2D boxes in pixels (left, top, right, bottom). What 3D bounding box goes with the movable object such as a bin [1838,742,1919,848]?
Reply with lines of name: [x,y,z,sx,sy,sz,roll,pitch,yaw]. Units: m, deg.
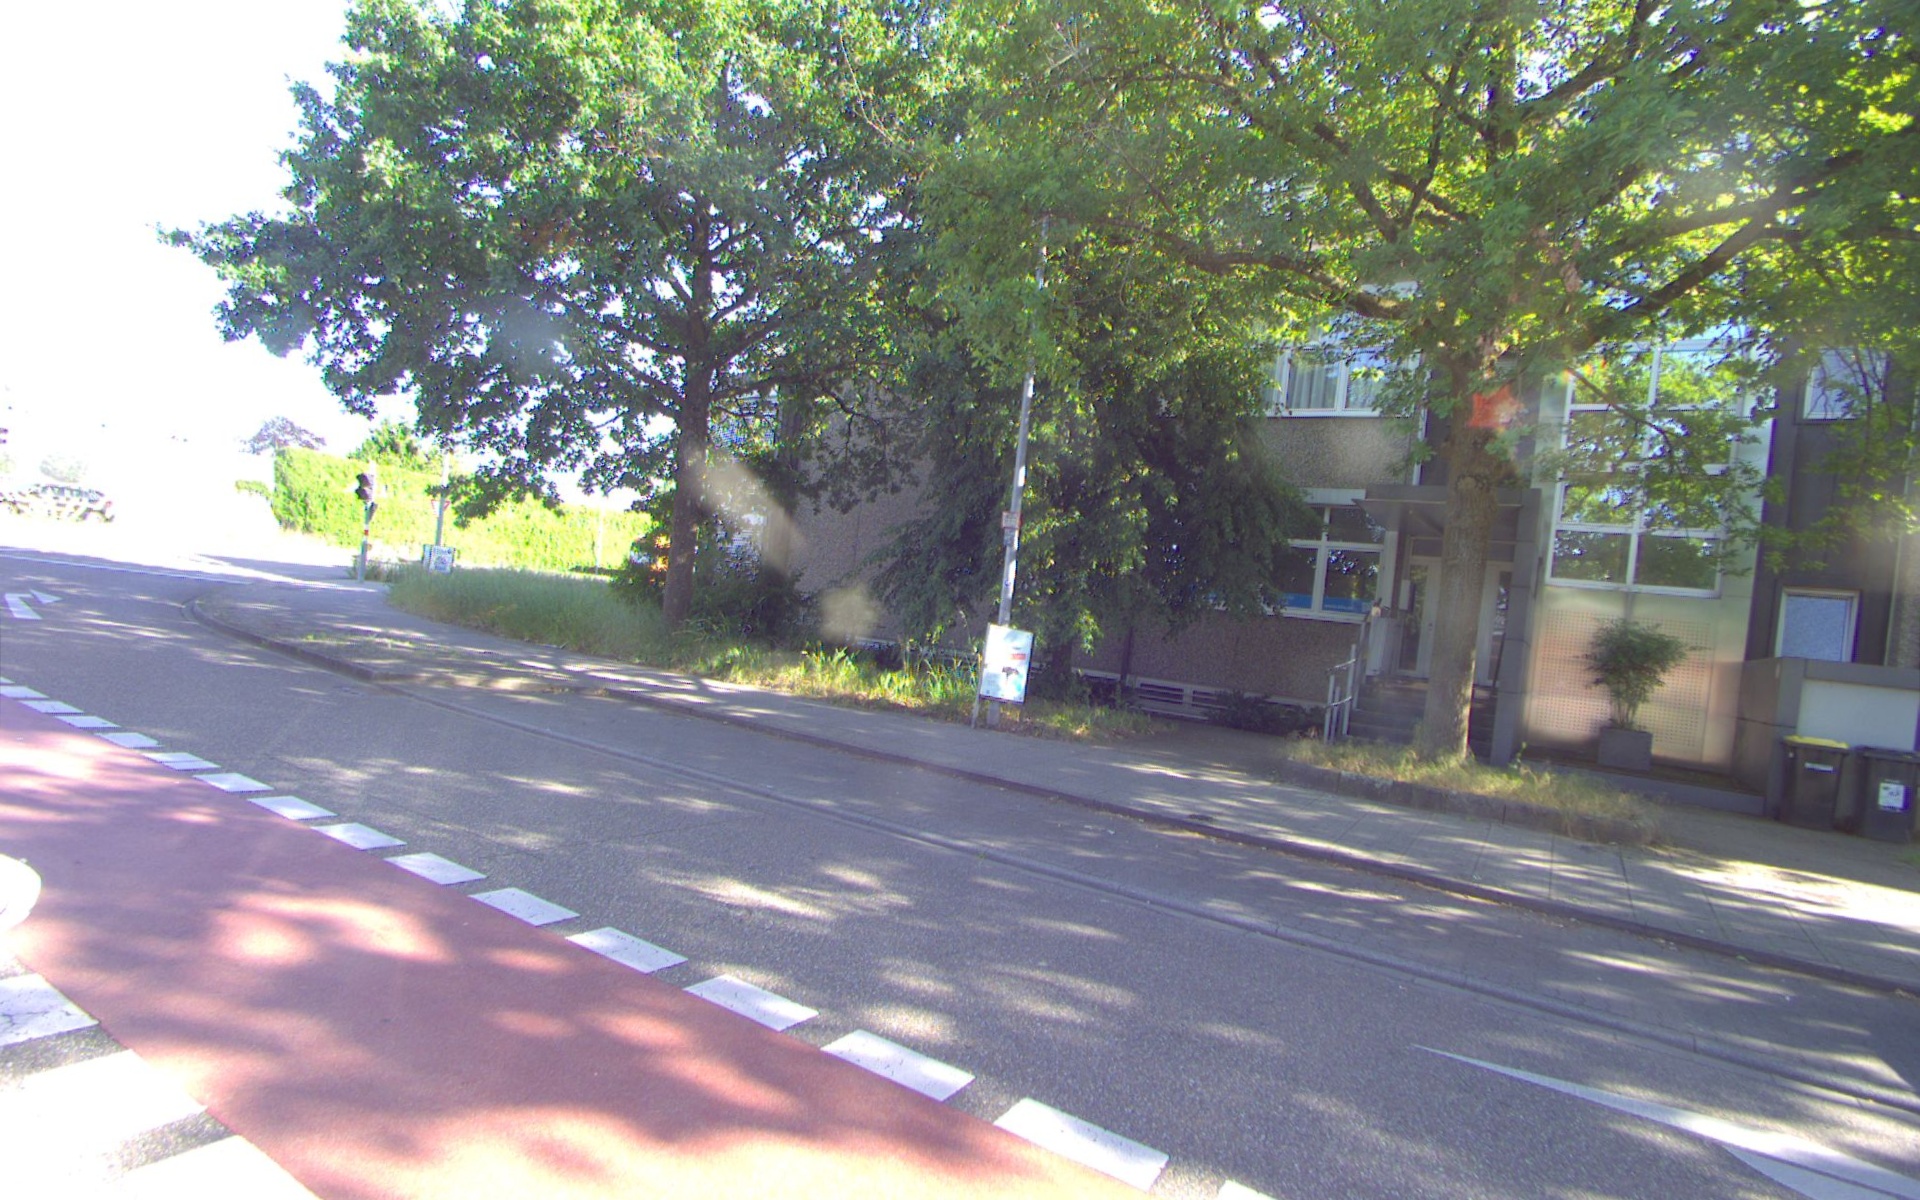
movable object such as a bin: [10.762,2.249,11.720,0.605,1.075,0.634,6,0,30]

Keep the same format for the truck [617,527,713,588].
truck: [-22.591,-3.210,77.406,3.379,4.066,6.485,7,2,25]

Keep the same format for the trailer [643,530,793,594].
trailer: [-19.664,-2.958,83.585,3.379,4.064,14.683,6,1,25]

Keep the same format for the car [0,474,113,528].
car: [-33.989,-3.700,36.888,1.738,1.545,4.073,7,1,28]

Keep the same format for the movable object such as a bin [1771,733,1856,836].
movable object such as a bin: [10.173,2.181,12.013,0.575,1.070,0.625,7,0,30]
